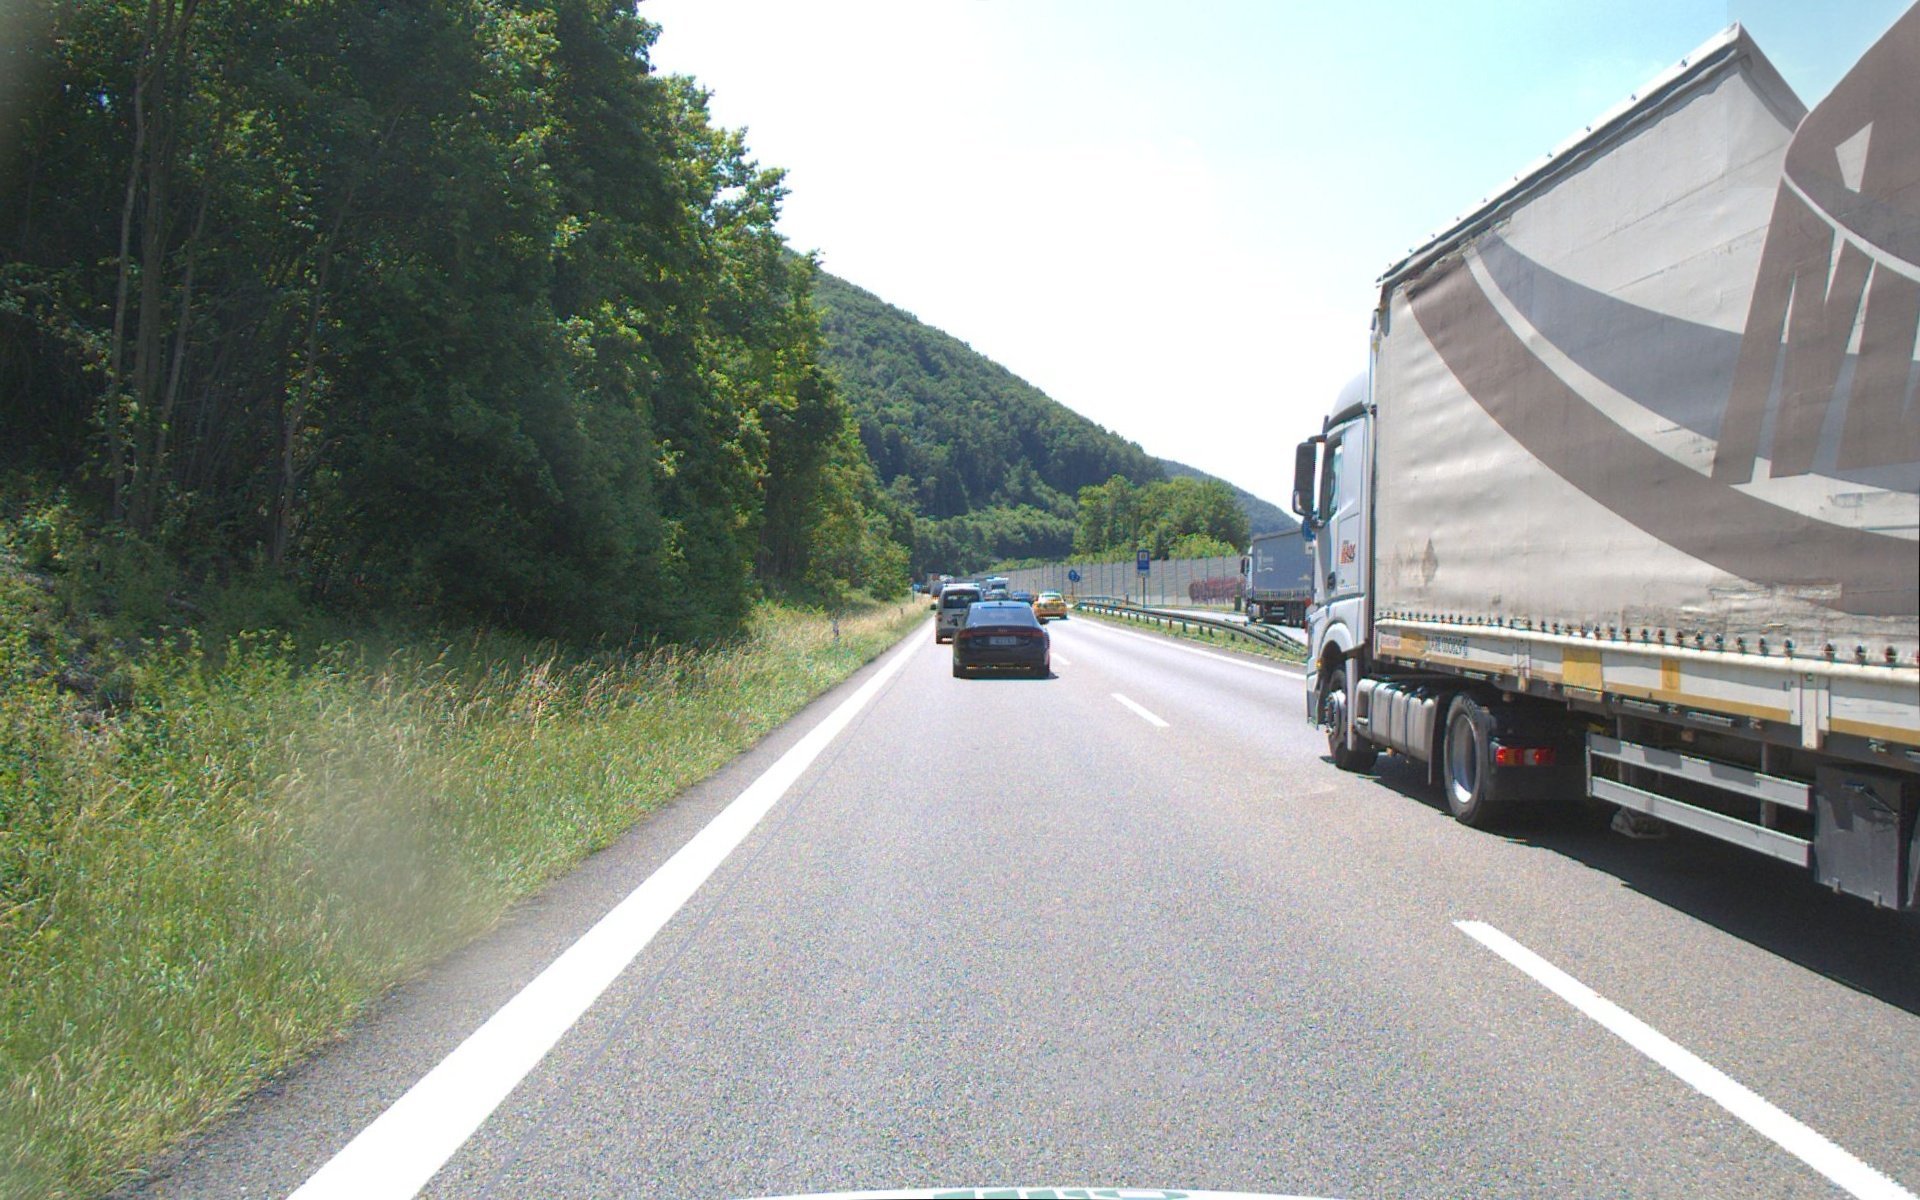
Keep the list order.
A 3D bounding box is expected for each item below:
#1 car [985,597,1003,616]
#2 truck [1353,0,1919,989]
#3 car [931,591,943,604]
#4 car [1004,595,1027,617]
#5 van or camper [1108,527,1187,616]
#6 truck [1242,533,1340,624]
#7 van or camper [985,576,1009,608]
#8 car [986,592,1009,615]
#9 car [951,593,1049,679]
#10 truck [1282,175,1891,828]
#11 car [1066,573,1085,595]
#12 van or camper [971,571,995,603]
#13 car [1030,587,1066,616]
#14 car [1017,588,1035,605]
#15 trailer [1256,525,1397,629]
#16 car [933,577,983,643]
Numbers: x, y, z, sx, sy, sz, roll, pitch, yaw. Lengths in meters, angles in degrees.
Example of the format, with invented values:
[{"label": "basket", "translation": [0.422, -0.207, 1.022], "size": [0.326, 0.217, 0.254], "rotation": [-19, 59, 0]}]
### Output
[{"label": "car", "translation": [2.941, 0.599, 143.503], "size": [1.498, 1.552, 3.596], "rotation": [2, -1, 0]}, {"label": "truck", "translation": [4.727, -0.664, 6.758], "size": [2.671, 4.139, 13.737], "rotation": [1, -1, -1]}, {"label": "car", "translation": [-2.899, -0.304, 210.864], "size": [1.458, 1.522, 3.590], "rotation": [2, -1, 0]}, {"label": "car", "translation": [4.041, 0.442, 119.786], "size": [1.498, 1.552, 3.596], "rotation": [2, -1, 0]}, {"label": "van or camper", "translation": [8.809, -1.266, 78.221], "size": [2.738, 3.908, 6.164], "rotation": [2, -1, -2]}, {"label": "truck", "translation": [15.115, -0.981, 75.996], "size": [3.342, 3.968, 5.387], "rotation": [1, 0, 0]}, {"label": "van or camper", "translation": [3.858, -0.825, 173.179], "size": [2.380, 3.210, 5.203], "rotation": [2, -1, 0]}, {"label": "car", "translation": [3.573, 0.343, 158.708], "size": [2.044, 2.049, 3.999], "rotation": [2, -1, 0]}, {"label": "car", "translation": [0.720, 0.645, 32.024], "size": [1.775, 1.541, 3.514], "rotation": [0, 1, -1]}, {"label": "truck", "translation": [4.620, -0.610, 13.555], "size": [2.664, 4.139, 5.753], "rotation": [1, -1, -1]}, {"label": "car", "translation": [11.010, -1.483, 157.733], "size": [1.544, 2.049, 3.428], "rotation": [0, 0, 0]}, {"label": "van or camper", "translation": [3.065, -1.712, 218.964], "size": [2.738, 3.975, 6.164], "rotation": [2, -1, -2]}, {"label": "car", "translation": [4.900, 0.078, 92.529], "size": [1.840, 1.525, 4.000], "rotation": [1, 0, 0]}, {"label": "car", "translation": [7.800, -0.412, 195.925], "size": [1.953, 2.049, 3.999], "rotation": [1, 0, -1]}, {"label": "trailer", "translation": [15.175, -0.915, 69.495], "size": [3.342, 3.968, 11.150], "rotation": [1, 0, 0]}, {"label": "car", "translation": [-0.063, 0.324, 54.440], "size": [1.490, 2.002, 3.514], "rotation": [3, 0, 0]}]
